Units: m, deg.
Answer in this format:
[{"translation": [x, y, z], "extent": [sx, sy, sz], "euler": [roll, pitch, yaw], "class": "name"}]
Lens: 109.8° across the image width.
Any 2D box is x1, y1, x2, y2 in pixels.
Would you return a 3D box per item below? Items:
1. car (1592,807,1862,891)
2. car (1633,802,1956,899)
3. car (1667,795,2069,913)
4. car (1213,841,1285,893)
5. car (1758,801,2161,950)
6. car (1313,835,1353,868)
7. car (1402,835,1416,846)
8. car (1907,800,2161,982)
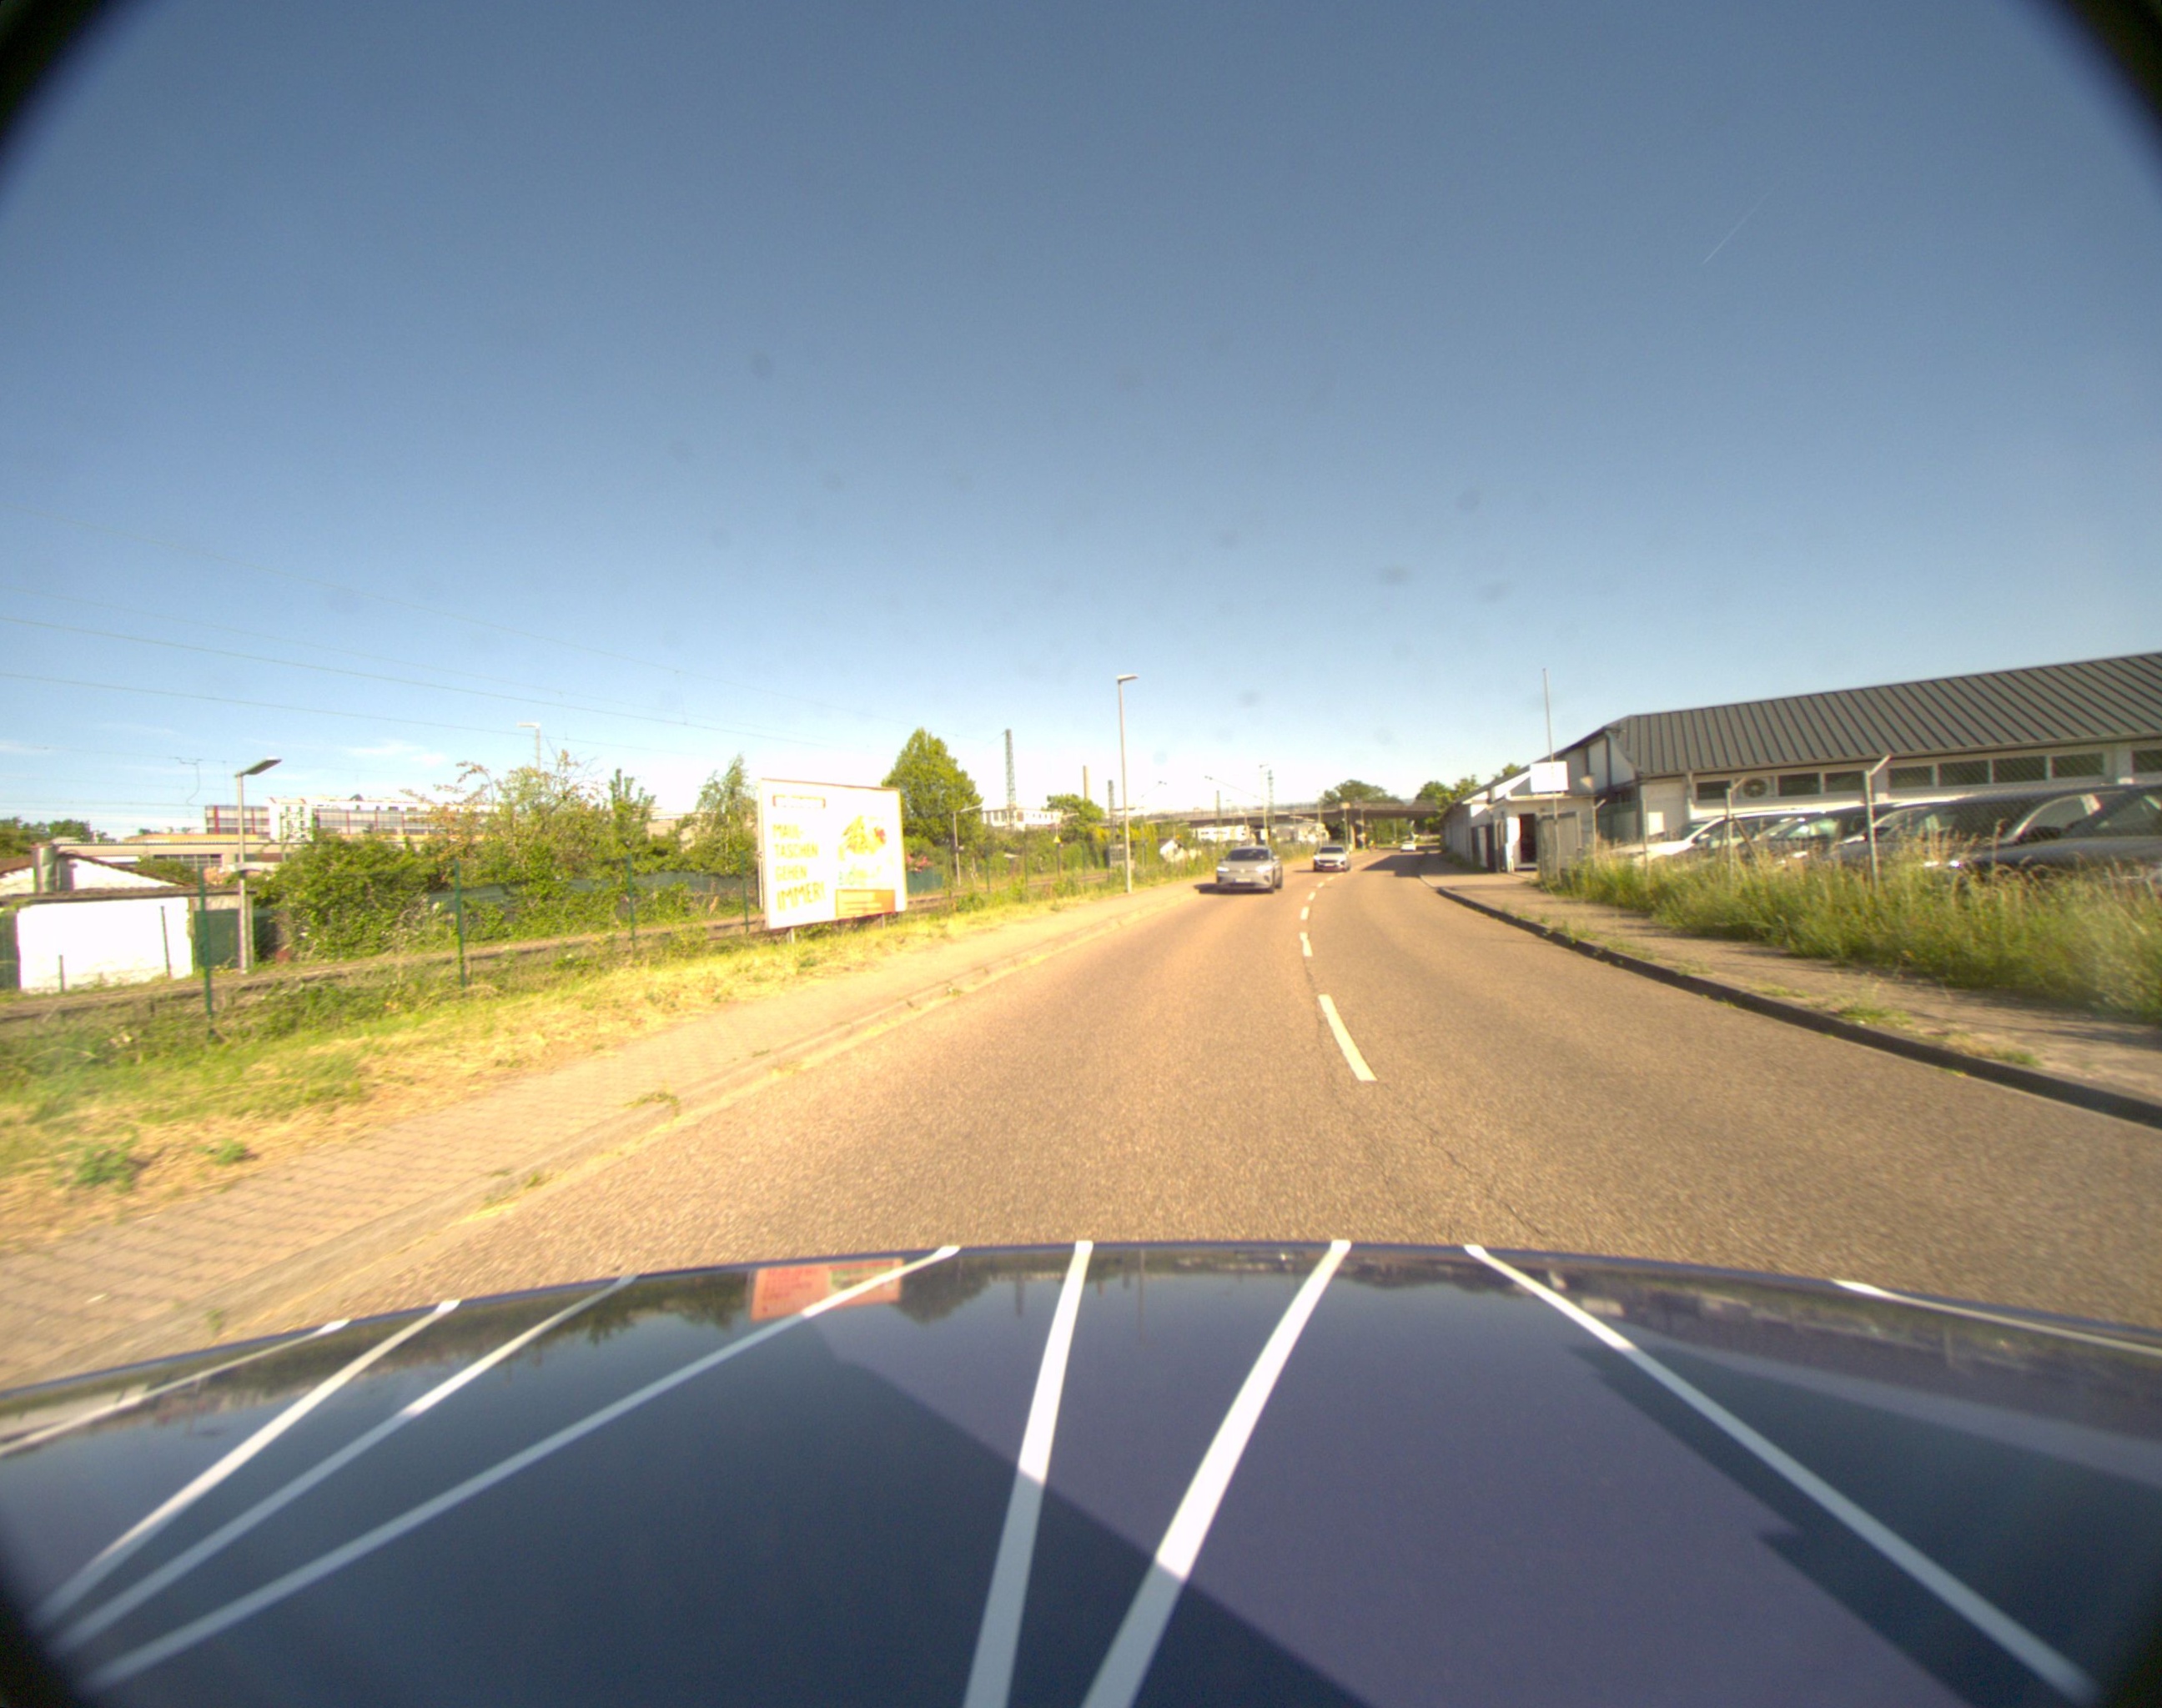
[{"translation": [14.694, -0.106, 17.535], "extent": [4.398, 1.639, 1.841], "euler": [-3, 1, 8], "class": "car"}, {"translation": [14.118, -0.054, 15.333], "extent": [4.396, 1.639, 1.842], "euler": [-3, 1, 12], "class": "car"}, {"translation": [12.793, 0.021, 12.672], "extent": [4.397, 1.639, 1.841], "euler": [-3, 1, 10], "class": "car"}, {"translation": [5.905, 0.397, 26.355], "extent": [1.847, 1.621, 4.301], "euler": [0, 1, 21], "class": "car"}, {"translation": [12.014, 0.225, 10.246], "extent": [4.403, 1.639, 1.839], "euler": [-3, 1, -7], "class": "car"}, {"translation": [14.685, -0.176, 44.131], "extent": [1.879, 1.814, 4.301], "euler": [-1, 1, 22], "class": "car"}, {"translation": [45.015, -1.847, 104.263], "extent": [1.810, 1.469, 4.695], "euler": [-1, 1, 24], "class": "car"}, {"translation": [11.738, 0.234, 8.032], "extent": [4.403, 1.639, 1.839], "euler": [-3, 1, -7], "class": "car"}]
